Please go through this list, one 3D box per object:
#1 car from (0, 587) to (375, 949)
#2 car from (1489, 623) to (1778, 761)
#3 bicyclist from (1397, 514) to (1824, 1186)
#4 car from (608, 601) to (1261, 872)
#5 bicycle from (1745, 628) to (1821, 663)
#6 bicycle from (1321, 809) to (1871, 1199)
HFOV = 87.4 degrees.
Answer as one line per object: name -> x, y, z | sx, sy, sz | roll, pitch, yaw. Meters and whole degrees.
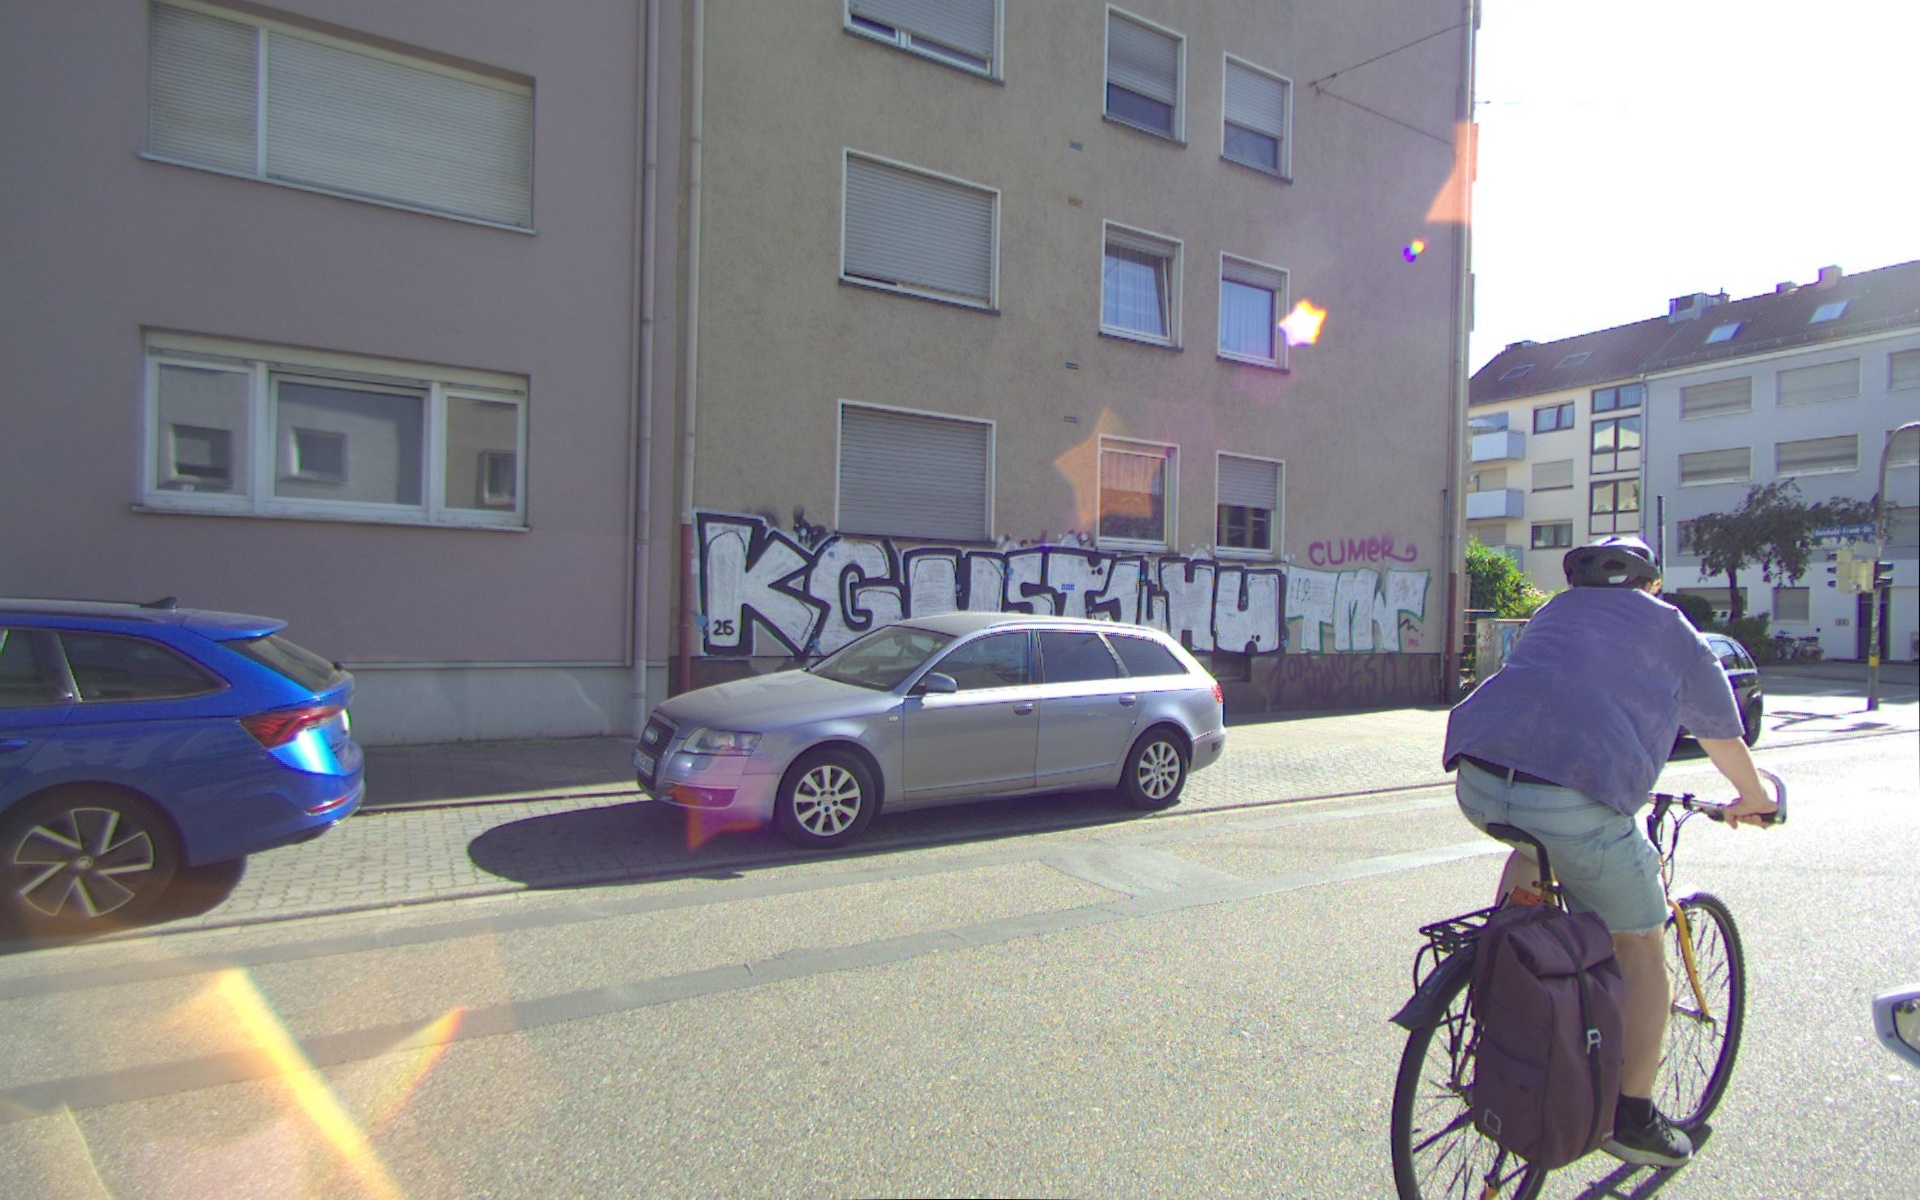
car -> -5.335, 0.703, 4.584 | 4.558, 1.485, 1.709 | 1, 2, -30
car -> 8.636, 1.075, 12.826 | 3.667, 1.444, 1.608 | 1, 2, -31
bicyclist -> 1.685, 0.511, 2.584 | 1.008, 1.364, 0.604 | 0, 0, -36
car -> -0.048, 0.832, 7.696 | 4.759, 1.485, 1.708 | 1, 2, -31
bicycle -> 29.796, 1.646, 36.399 | 2.068, 1.188, 0.738 | 0, -1, 37
bicycle -> 1.751, 1.153, 2.644 | 1.796, 0.893, 0.606 | 0, 0, -36
